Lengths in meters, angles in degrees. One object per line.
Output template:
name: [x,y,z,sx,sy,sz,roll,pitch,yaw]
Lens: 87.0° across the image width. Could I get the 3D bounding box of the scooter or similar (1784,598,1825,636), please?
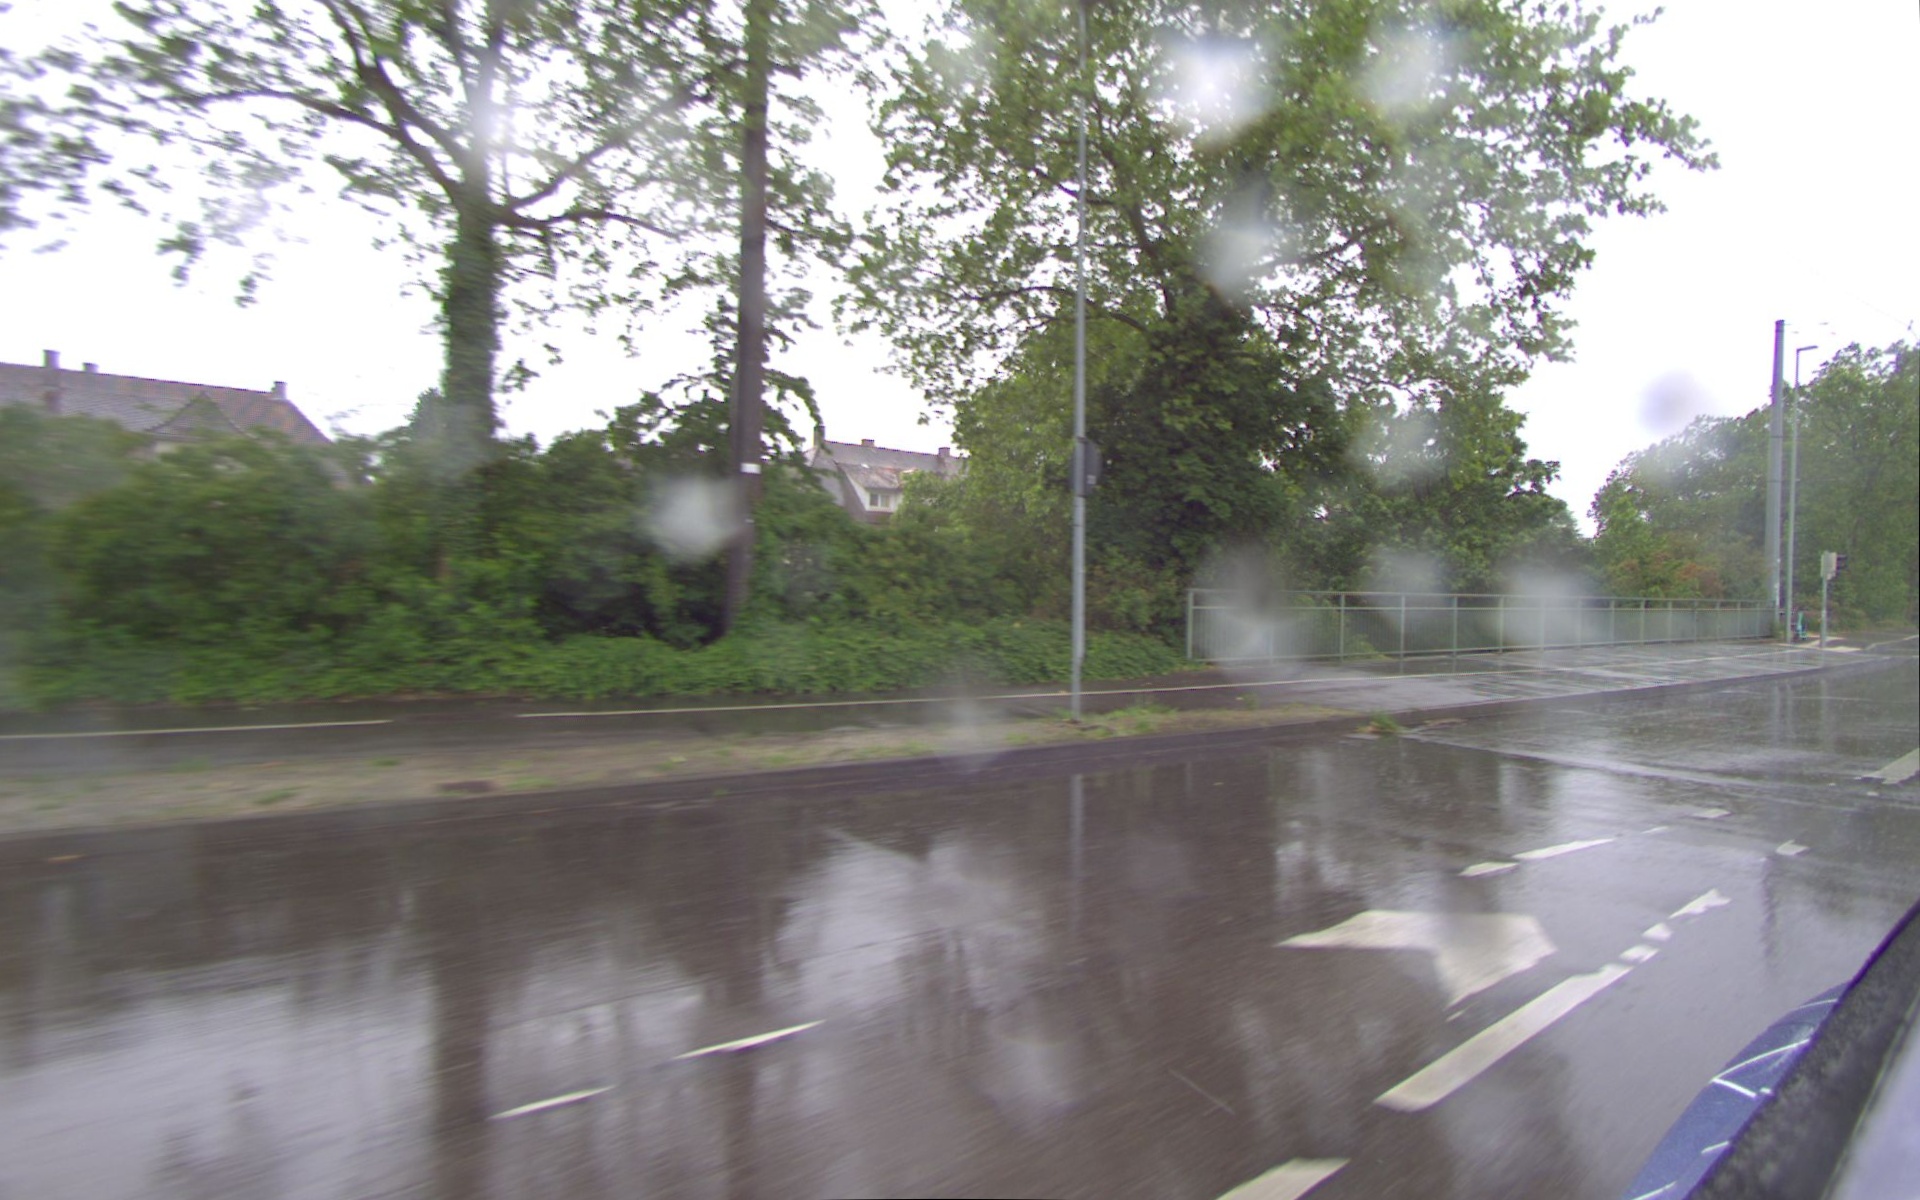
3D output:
scooter or similar: [30.165,0.607,36.146,1.616,1.309,0.761,-1,1,-37]
